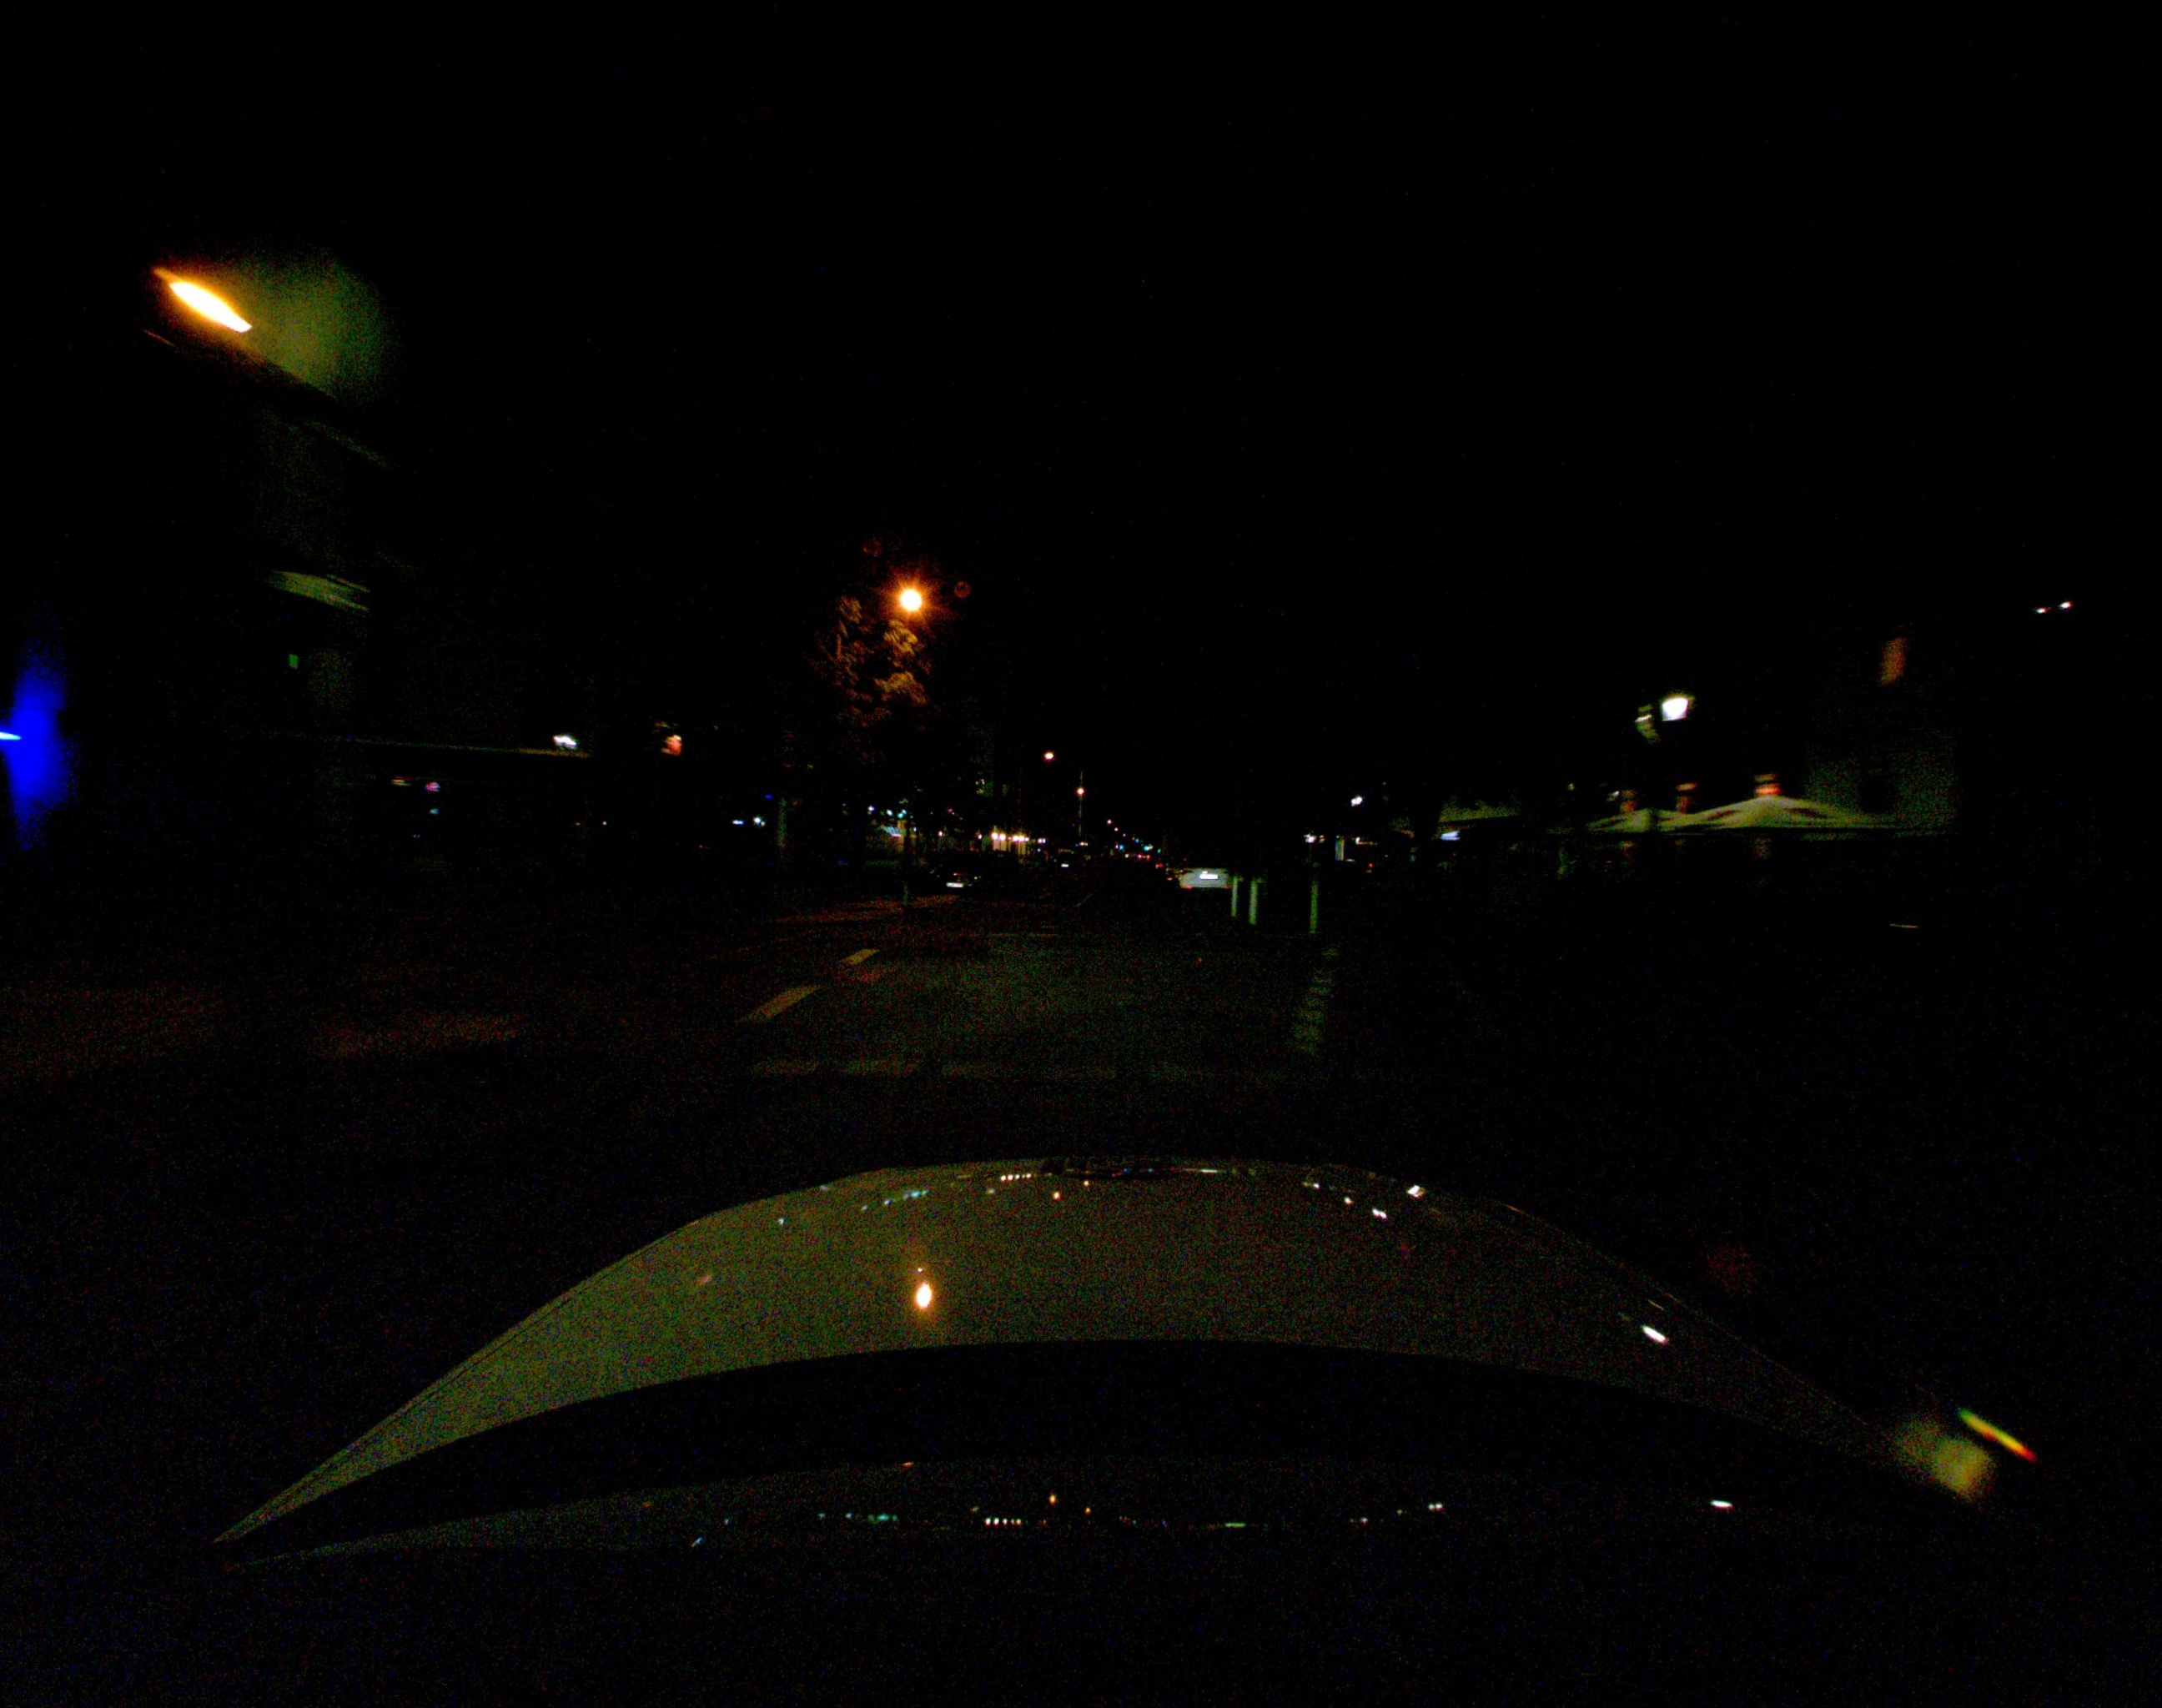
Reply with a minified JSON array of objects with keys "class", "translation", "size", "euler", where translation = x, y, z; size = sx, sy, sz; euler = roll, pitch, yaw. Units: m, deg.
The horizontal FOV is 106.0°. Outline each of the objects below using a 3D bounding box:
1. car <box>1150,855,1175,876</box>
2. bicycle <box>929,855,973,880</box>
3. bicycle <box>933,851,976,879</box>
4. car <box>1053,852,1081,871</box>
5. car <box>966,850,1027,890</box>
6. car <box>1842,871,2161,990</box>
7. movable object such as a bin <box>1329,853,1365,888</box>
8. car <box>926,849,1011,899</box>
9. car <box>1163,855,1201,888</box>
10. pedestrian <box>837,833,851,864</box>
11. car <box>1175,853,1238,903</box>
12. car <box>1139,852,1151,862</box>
[{"class":"car","translation":[5.873,0.787,59.119],"size":[1.756,1.414,4.814],"euler":[1,0,5]},{"class":"bicycle","translation":[-5.981,0.626,37.504],"size":[1.843,1.035,0.533],"euler":[3,0,3]},{"class":"bicycle","translation":[-5.921,0.530,38.149],"size":[1.843,1.254,0.533],"euler":[2,0,3]},{"class":"car","translation":[-1.082,0.598,65.414],"size":[1.733,1.413,4.501],"euler":[3,0,5]},{"class":"car","translation":[-3.404,0.613,33.569],"size":[1.714,1.428,3.981],"euler":[4,0,4]},{"class":"car","translation":[14.124,1.068,11.879],"size":[4.298,1.532,1.804],"euler":[1,-1,2]},{"class":"movable object such as a bin","translation":[10.956,0.682,33.574],"size":[1.156,1.371,0.994],"euler":[2,0,2]},{"class":"car","translation":[-3.705,0.614,27.698],"size":[1.799,1.425,4.926],"euler":[4,0,4]},{"class":"car","translation":[4.973,0.841,40.493],"size":[1.682,1.537,4.020],"euler":[0,0,4]},{"class":"pedestrian","translation":[-12.519,-0.277,43.007],"size":[0.476,1.636,0.633],"euler":[2,0,4]},{"class":"car","translation":[4.058,0.728,26.847],"size":[1.762,1.537,4.221],"euler":[0,0,4]},{"class":"car","translation":[10.873,0.525,139.429],"size":[1.985,1.643,4.004],"euler":[1,0,4]}]
